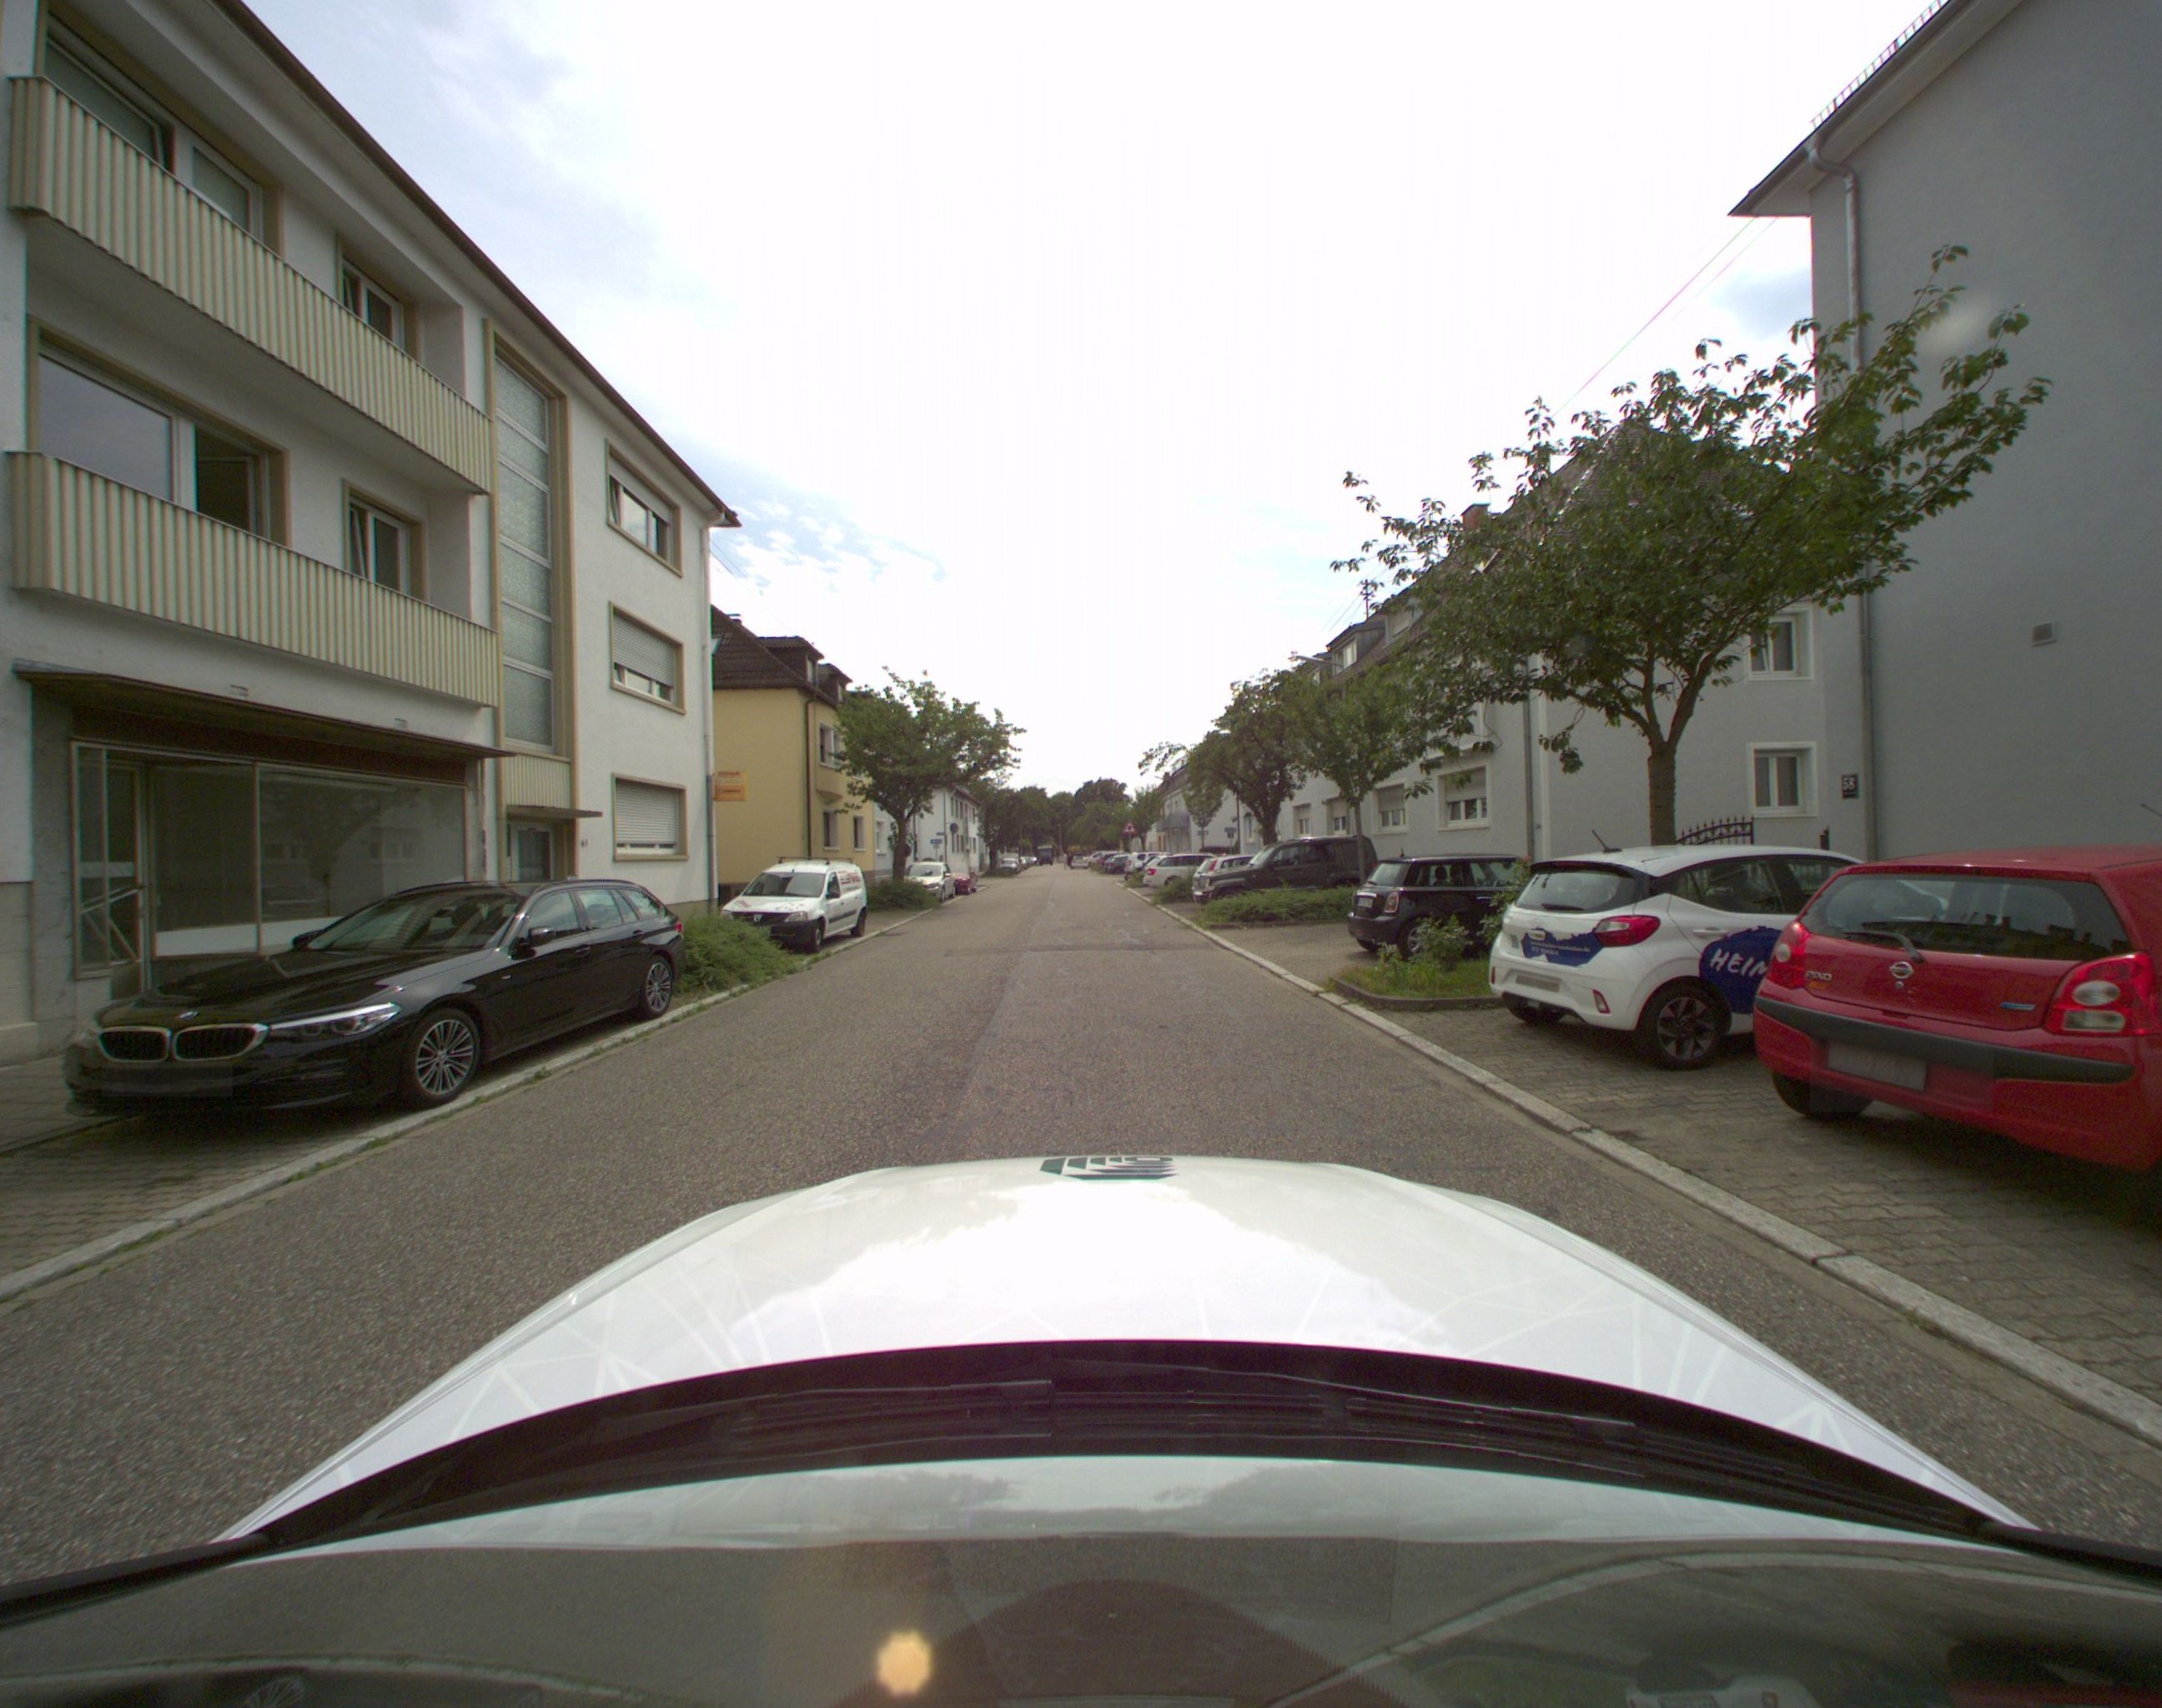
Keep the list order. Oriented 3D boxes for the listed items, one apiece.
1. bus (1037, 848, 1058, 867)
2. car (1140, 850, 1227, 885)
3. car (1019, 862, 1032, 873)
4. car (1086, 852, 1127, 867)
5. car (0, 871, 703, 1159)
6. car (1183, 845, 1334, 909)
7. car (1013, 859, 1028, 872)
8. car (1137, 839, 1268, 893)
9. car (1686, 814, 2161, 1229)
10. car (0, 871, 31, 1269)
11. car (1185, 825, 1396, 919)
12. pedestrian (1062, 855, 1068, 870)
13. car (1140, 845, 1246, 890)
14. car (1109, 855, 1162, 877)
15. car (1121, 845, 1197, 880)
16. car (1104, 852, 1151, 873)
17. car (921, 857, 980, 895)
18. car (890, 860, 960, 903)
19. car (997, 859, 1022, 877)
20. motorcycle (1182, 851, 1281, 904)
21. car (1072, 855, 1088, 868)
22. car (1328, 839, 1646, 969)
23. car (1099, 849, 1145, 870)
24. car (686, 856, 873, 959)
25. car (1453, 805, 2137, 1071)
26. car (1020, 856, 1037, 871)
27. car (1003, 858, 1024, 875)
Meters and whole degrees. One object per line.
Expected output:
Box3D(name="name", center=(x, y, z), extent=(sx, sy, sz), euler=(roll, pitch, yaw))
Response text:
Box3D(name="bus", center=(-5.294, 0.595, 131.127), extent=(2.995, 2.761, 8.919), euler=(-4, 0, -1))
Box3D(name="car", center=(4.975, 0.636, 39.973), extent=(3.976, 1.421, 1.711), euler=(-4, 0, -2))
Box3D(name="car", center=(-7.020, 1.695, 102.924), extent=(1.535, 1.301, 3.716), euler=(-4, 0, -4))
Box3D(name="car", center=(3.138, 0.695, 100.626), extent=(4.964, 1.518, 1.766), euler=(-4, 0, -4))
Box3D(name="car", center=(-5.175, 0.926, 6.854), extent=(1.785, 1.492, 4.810), euler=(-1, -1, -1))
Box3D(name="car", center=(4.818, 0.604, 22.350), extent=(3.620, 1.454, 1.769), euler=(-4, 0, -6))
Box3D(name="car", center=(-7.222, 1.339, 97.860), extent=(1.648, 1.377, 3.716), euler=(-4, 0, -4))
Box3D(name="car", center=(4.509, 0.430, 30.742), extent=(4.601, 1.664, 1.892), euler=(-4, 0, -1))
Box3D(name="car", center=(5.581, 0.528, 3.996), extent=(3.980, 1.410, 1.765), euler=(-4, 0, -5))
Box3D(name="car", center=(-5.080, 0.866, 1.119), extent=(1.752, 1.556, 4.253), euler=(-2, 0, -1))
Box3D(name="car", center=(4.891, 0.410, 19.492), extent=(4.509, 1.858, 1.793), euler=(-4, 0, 1))
Box3D(name="pedestrian", center=(-1.823, 0.943, 91.349), extent=(0.520, 1.704, 0.445), euler=(-4, -1, 2))
Box3D(name="car", center=(4.516, 0.531, 33.191), extent=(3.976, 1.508, 1.711), euler=(-4, 0, -2))
Box3D(name="car", center=(4.000, 0.858, 60.248), extent=(3.736, 1.365, 1.772), euler=(-4, 0, -1))
Box3D(name="car", center=(4.248, 0.454, 44.652), extent=(3.912, 1.633, 1.867), euler=(-4, 0, -1))
Box3D(name="car", center=(3.570, 0.636, 63.128), extent=(3.508, 1.412, 1.558), euler=(-4, 0, -2))
Box3D(name="car", center=(-5.721, 0.943, 36.285), extent=(1.872, 1.486, 4.509), euler=(-4, 0, -1))
Box3D(name="car", center=(-5.845, 0.983, 31.004), extent=(1.766, 1.392, 4.273), euler=(4, 0, 0))
Box3D(name="car", center=(-6.515, 1.261, 74.545), extent=(1.756, 1.554, 3.732), euler=(-4, 0, 2))
Box3D(name="motorcycle", center=(4.459, 0.684, 24.212), extent=(2.697, 1.464, 1.029), euler=(-2, 0, -6))
Box3D(name="car", center=(-0.158, 0.807, 92.170), extent=(1.682, 1.354, 3.825), euler=(-4, 0, 0))
Box3D(name="car", center=(5.572, 0.647, 11.509), extent=(3.534, 1.453, 1.807), euler=(-4, 0, -3))
Box3D(name="car", center=(3.536, 0.465, 70.680), extent=(3.736, 1.564, 1.772), euler=(-4, 0, -1))
Box3D(name="car", center=(-5.558, 0.904, 15.703), extent=(1.913, 1.581, 4.380), euler=(-4, 0, -1))
Box3D(name="car", center=(5.362, 0.556, 6.460), extent=(3.980, 1.530, 1.765), euler=(-4, 0, -5))
Box3D(name="car", center=(-5.579, 1.054, 87.212), extent=(1.647, 1.461, 3.549), euler=(-4, 0, -2))
Box3D(name="car", center=(-6.723, 1.269, 81.846), extent=(1.758, 1.554, 3.729), euler=(-4, 0, -1))
